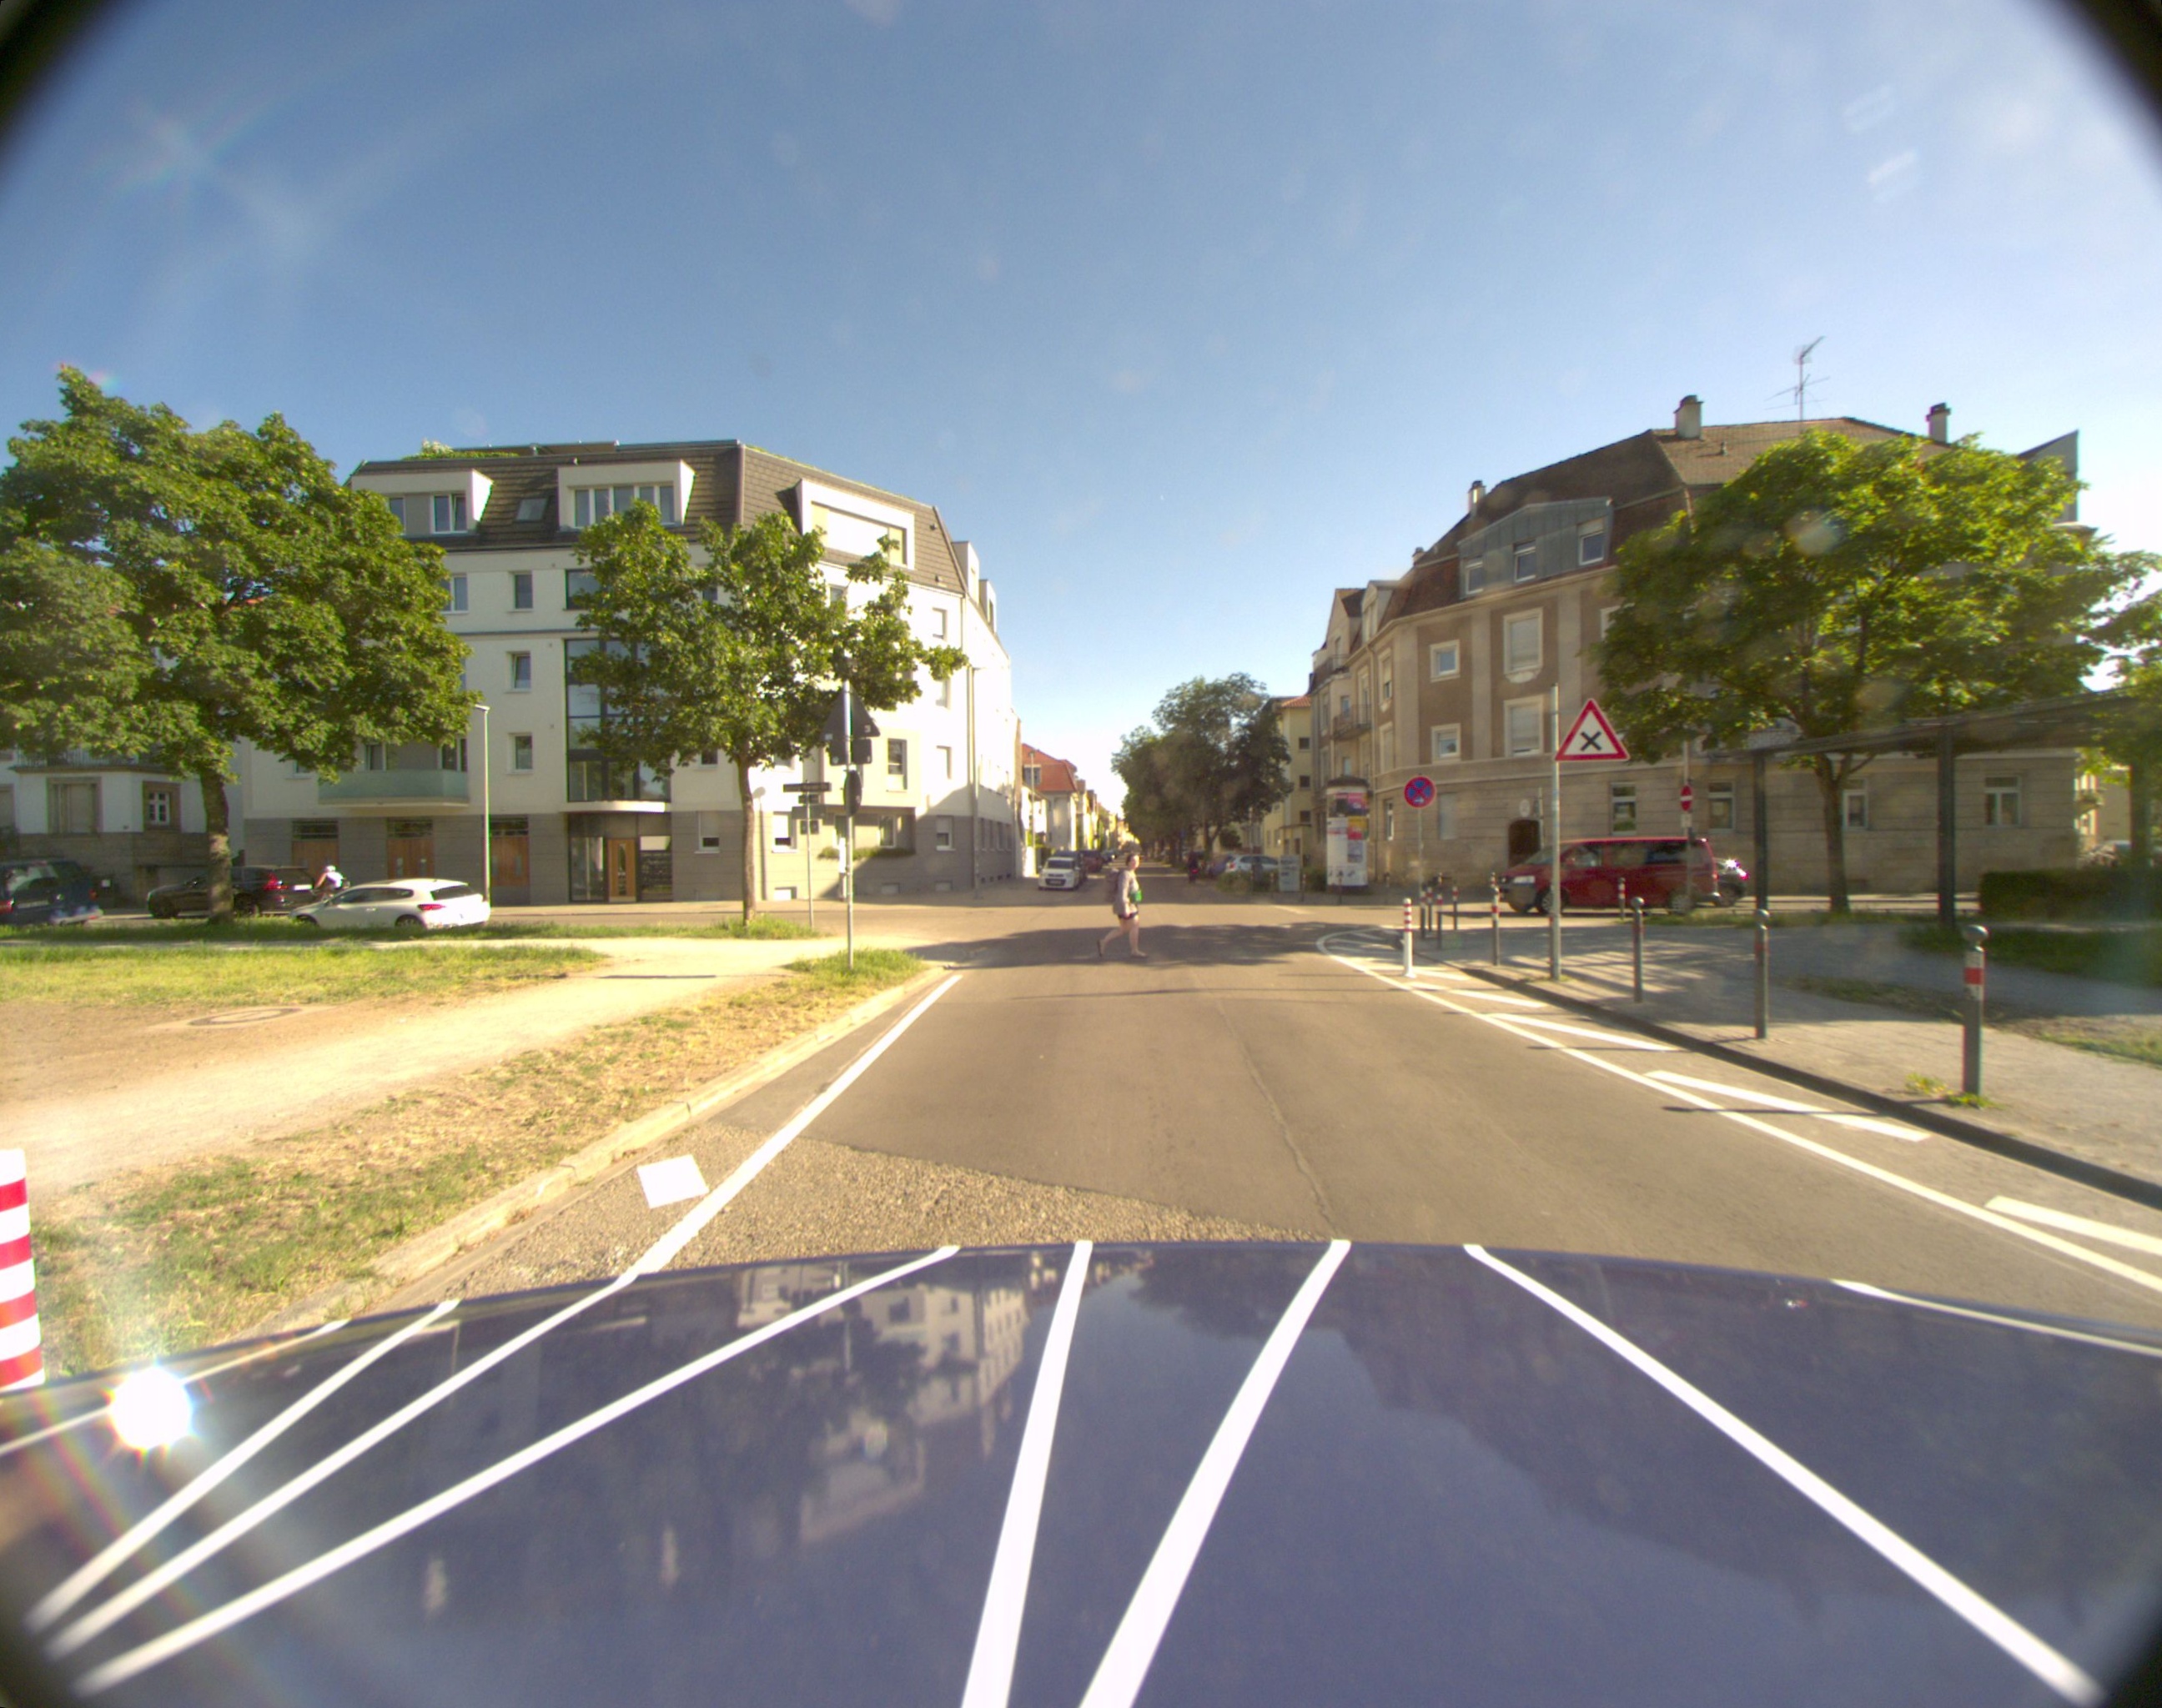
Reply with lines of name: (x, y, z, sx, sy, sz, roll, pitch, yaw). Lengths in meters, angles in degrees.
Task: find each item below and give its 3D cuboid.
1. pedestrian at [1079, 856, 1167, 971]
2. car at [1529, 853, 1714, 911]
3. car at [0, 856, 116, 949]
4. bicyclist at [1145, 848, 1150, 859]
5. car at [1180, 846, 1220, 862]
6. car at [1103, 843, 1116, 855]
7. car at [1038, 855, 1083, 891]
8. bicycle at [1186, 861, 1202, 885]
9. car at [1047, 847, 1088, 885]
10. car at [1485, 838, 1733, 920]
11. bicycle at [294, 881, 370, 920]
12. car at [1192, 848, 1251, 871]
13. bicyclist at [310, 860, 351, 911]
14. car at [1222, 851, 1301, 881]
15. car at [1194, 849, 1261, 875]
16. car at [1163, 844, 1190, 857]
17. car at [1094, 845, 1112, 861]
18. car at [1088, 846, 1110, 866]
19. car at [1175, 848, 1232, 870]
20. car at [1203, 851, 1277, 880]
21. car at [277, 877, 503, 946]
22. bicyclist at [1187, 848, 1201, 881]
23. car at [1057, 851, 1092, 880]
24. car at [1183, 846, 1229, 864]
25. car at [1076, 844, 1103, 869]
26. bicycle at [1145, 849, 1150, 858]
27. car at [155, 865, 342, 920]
pedestrian: (0.638, 0.881, 11.812, 1.090, 1.664, 0.912, -2, 1, -13)
car: (15.648, 0.787, 22.187, 4.011, 1.476, 1.867, -1, 4, 1)
car: (-27.448, 1.183, 19.155, 3.989, 2.073, 1.783, -1, 5, 5)
bicyclist: (8.834, -0.078, 101.150, 0.644, 1.557, 1.043, -1, 1, 5)
car: (11.402, 0.007, 72.998, 3.528, 1.486, 1.692, -2, 1, -1)
car: (4.462, -0.755, 117.186, 1.883, 1.734, 4.403, 0, 0, 4)
car: (-0.886, 0.839, 35.095, 1.664, 1.440, 3.689, 2, 1, 4)
bicycle: (5.561, 0.909, 37.451, 0.644, 1.102, 2.066, -1, 1, 5)
car: (-0.659, 0.562, 39.552, 1.664, 1.825, 4.257, 2, 1, 4)
car: (13.415, 0.601, 19.618, 4.879, 1.950, 1.897, 0, 2, 9)
bicycle: (-21.823, 1.346, 22.161, 1.707, 1.083, 0.507, -1, 1, 1)
car: (9.972, 0.353, 54.032, 3.791, 1.486, 1.691, -2, 1, -9)
bicyclist: (-21.875, 0.909, 22.154, 0.687, 1.456, 0.498, -1, 1, 1)
car: (9.561, 0.622, 40.468, 3.788, 1.436, 1.692, -2, 1, 1)
car: (9.212, 0.482, 47.868, 3.791, 1.486, 1.691, -2, 1, -9)
car: (13.250, -0.495, 105.297, 3.527, 1.693, 1.692, -2, 1, 2)
car: (2.648, -0.116, 90.809, 1.883, 1.860, 4.403, 0, 0, 4)
car: (1.818, 0.188, 75.435, 1.883, 1.860, 4.402, 2, 1, 4)
car: (9.176, 0.350, 57.030, 3.791, 1.486, 1.691, -2, 1, -9)
car: (8.897, 0.621, 42.698, 3.788, 1.486, 1.692, -2, 1, 1)
car: (-16.888, 1.393, 18.698, 3.990, 1.426, 1.739, -1, 5, 4)
bicyclist: (5.551, 0.516, 37.382, 0.644, 1.610, 0.637, -1, 1, 5)
car: (-0.362, 0.650, 44.951, 1.664, 1.533, 4.067, 2, 1, 4)
car: (11.259, 0.100, 68.597, 3.789, 1.486, 1.692, -2, 1, -1)
car: (0.739, 0.208, 61.304, 1.883, 1.860, 4.402, 2, 1, 4)
bicycle: (8.824, -0.064, 101.094, 0.644, 1.102, 2.066, -1, 1, 5)
car: (-27.526, 1.250, 25.198, 4.284, 1.673, 1.896, -1, 2, 5)
